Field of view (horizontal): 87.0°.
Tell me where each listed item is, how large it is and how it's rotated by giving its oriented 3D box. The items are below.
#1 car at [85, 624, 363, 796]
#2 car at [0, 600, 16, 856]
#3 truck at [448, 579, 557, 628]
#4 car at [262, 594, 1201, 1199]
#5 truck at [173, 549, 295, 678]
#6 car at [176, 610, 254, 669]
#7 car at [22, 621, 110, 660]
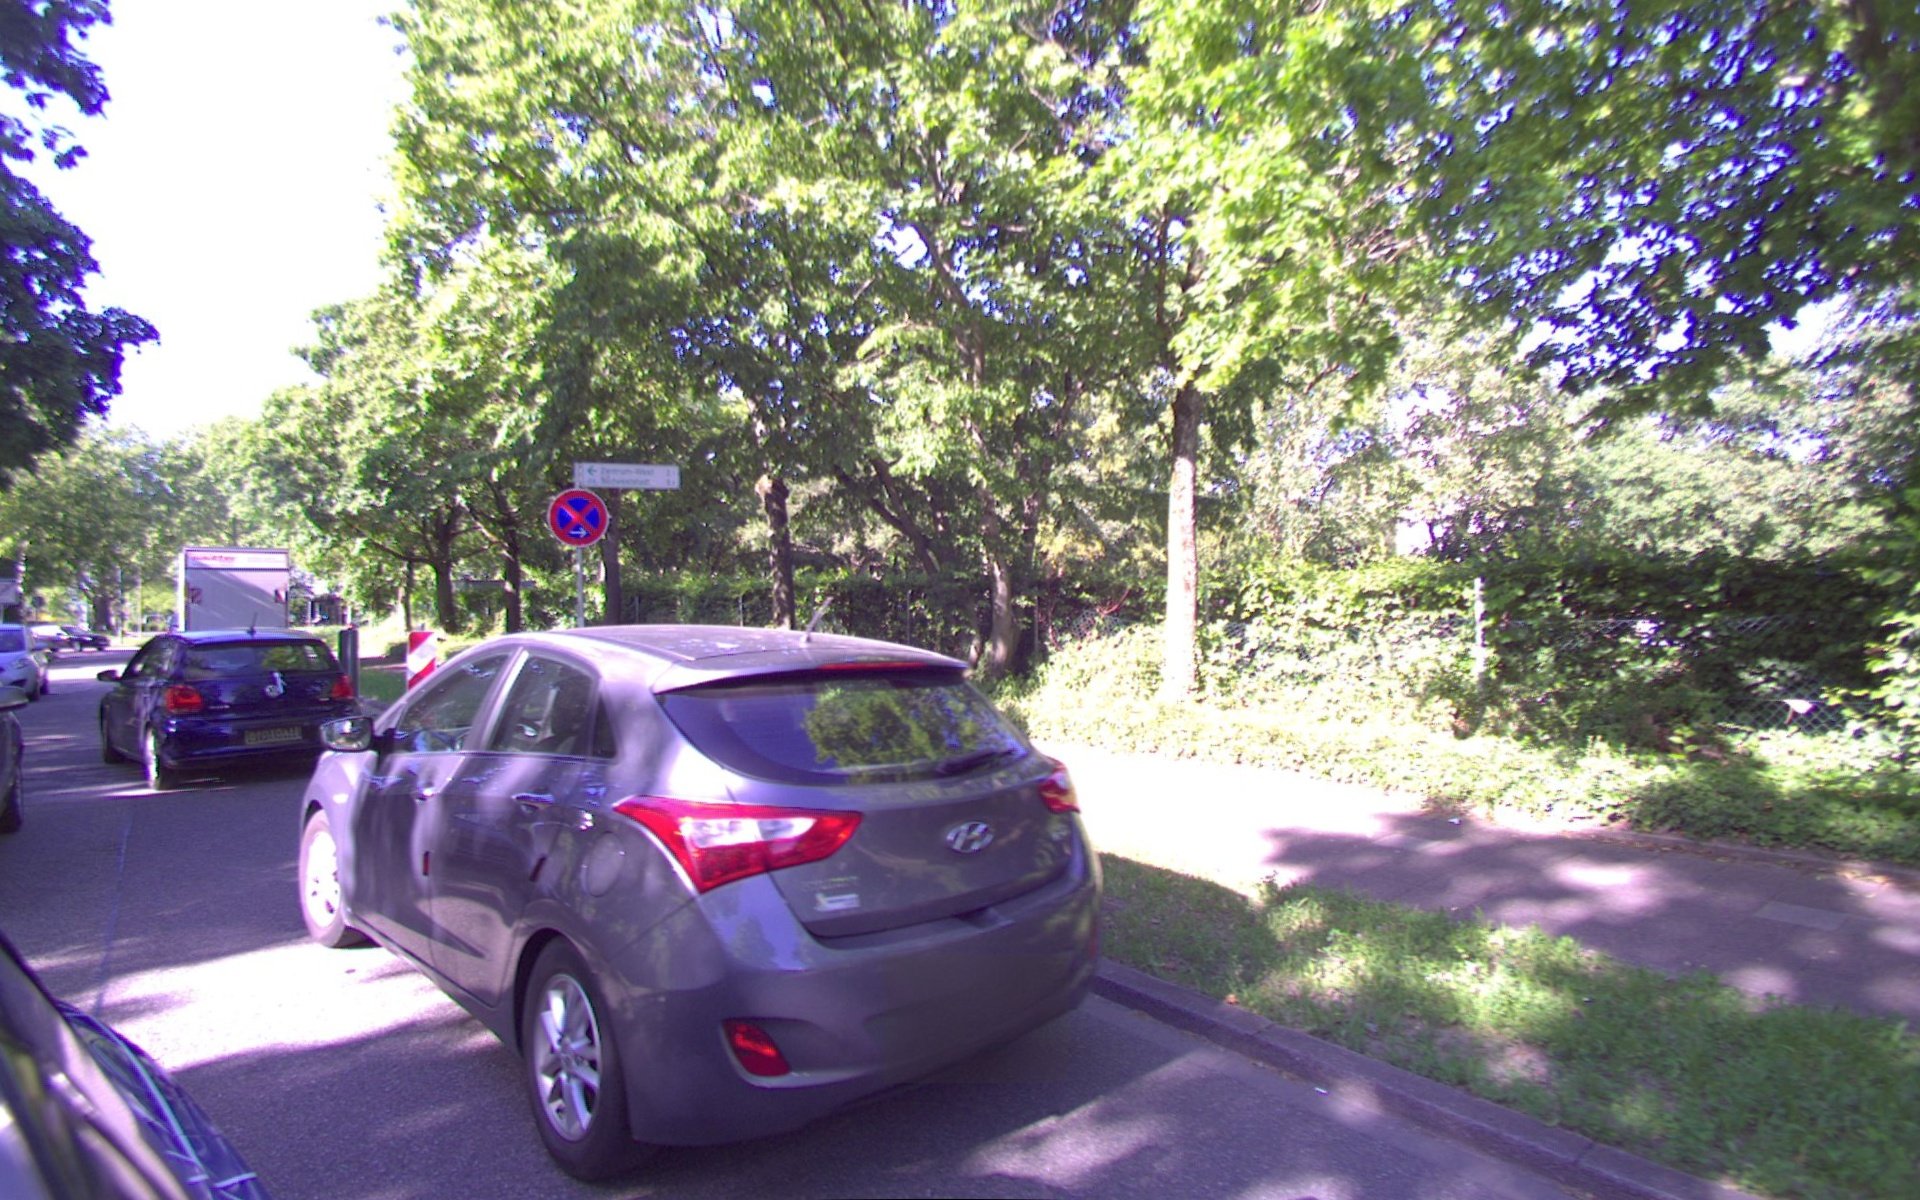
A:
[{"bbox_3d":[-7.564,0.971,10.279,3.651,1.437,1.583,-2,-2,43],"label":"car"},{"bbox_3d":[-6.406,0.797,5.475,1.708,1.599,4.006,-1,-1,-41],"label":"car"},{"bbox_3d":[-20.231,0.201,44.808,3.937,2.029,2.207,1,-2,-41],"label":"truck"},{"bbox_3d":[-1.337,0.784,4.122,1.735,1.465,4.245,2,-2,-45],"label":"car"},{"bbox_3d":[-23.545,0.451,32.625,2.700,3.669,8.115,-1,-1,-39],"label":"truck"},{"bbox_3d":[-29.723,1.514,40.266,2.093,2.112,6.595,-1,-1,-40],"label":"car"},{"bbox_3d":[-51.715,2.328,58.537,3.965,2.029,1.989,-2,1,17],"label":"car"}]
